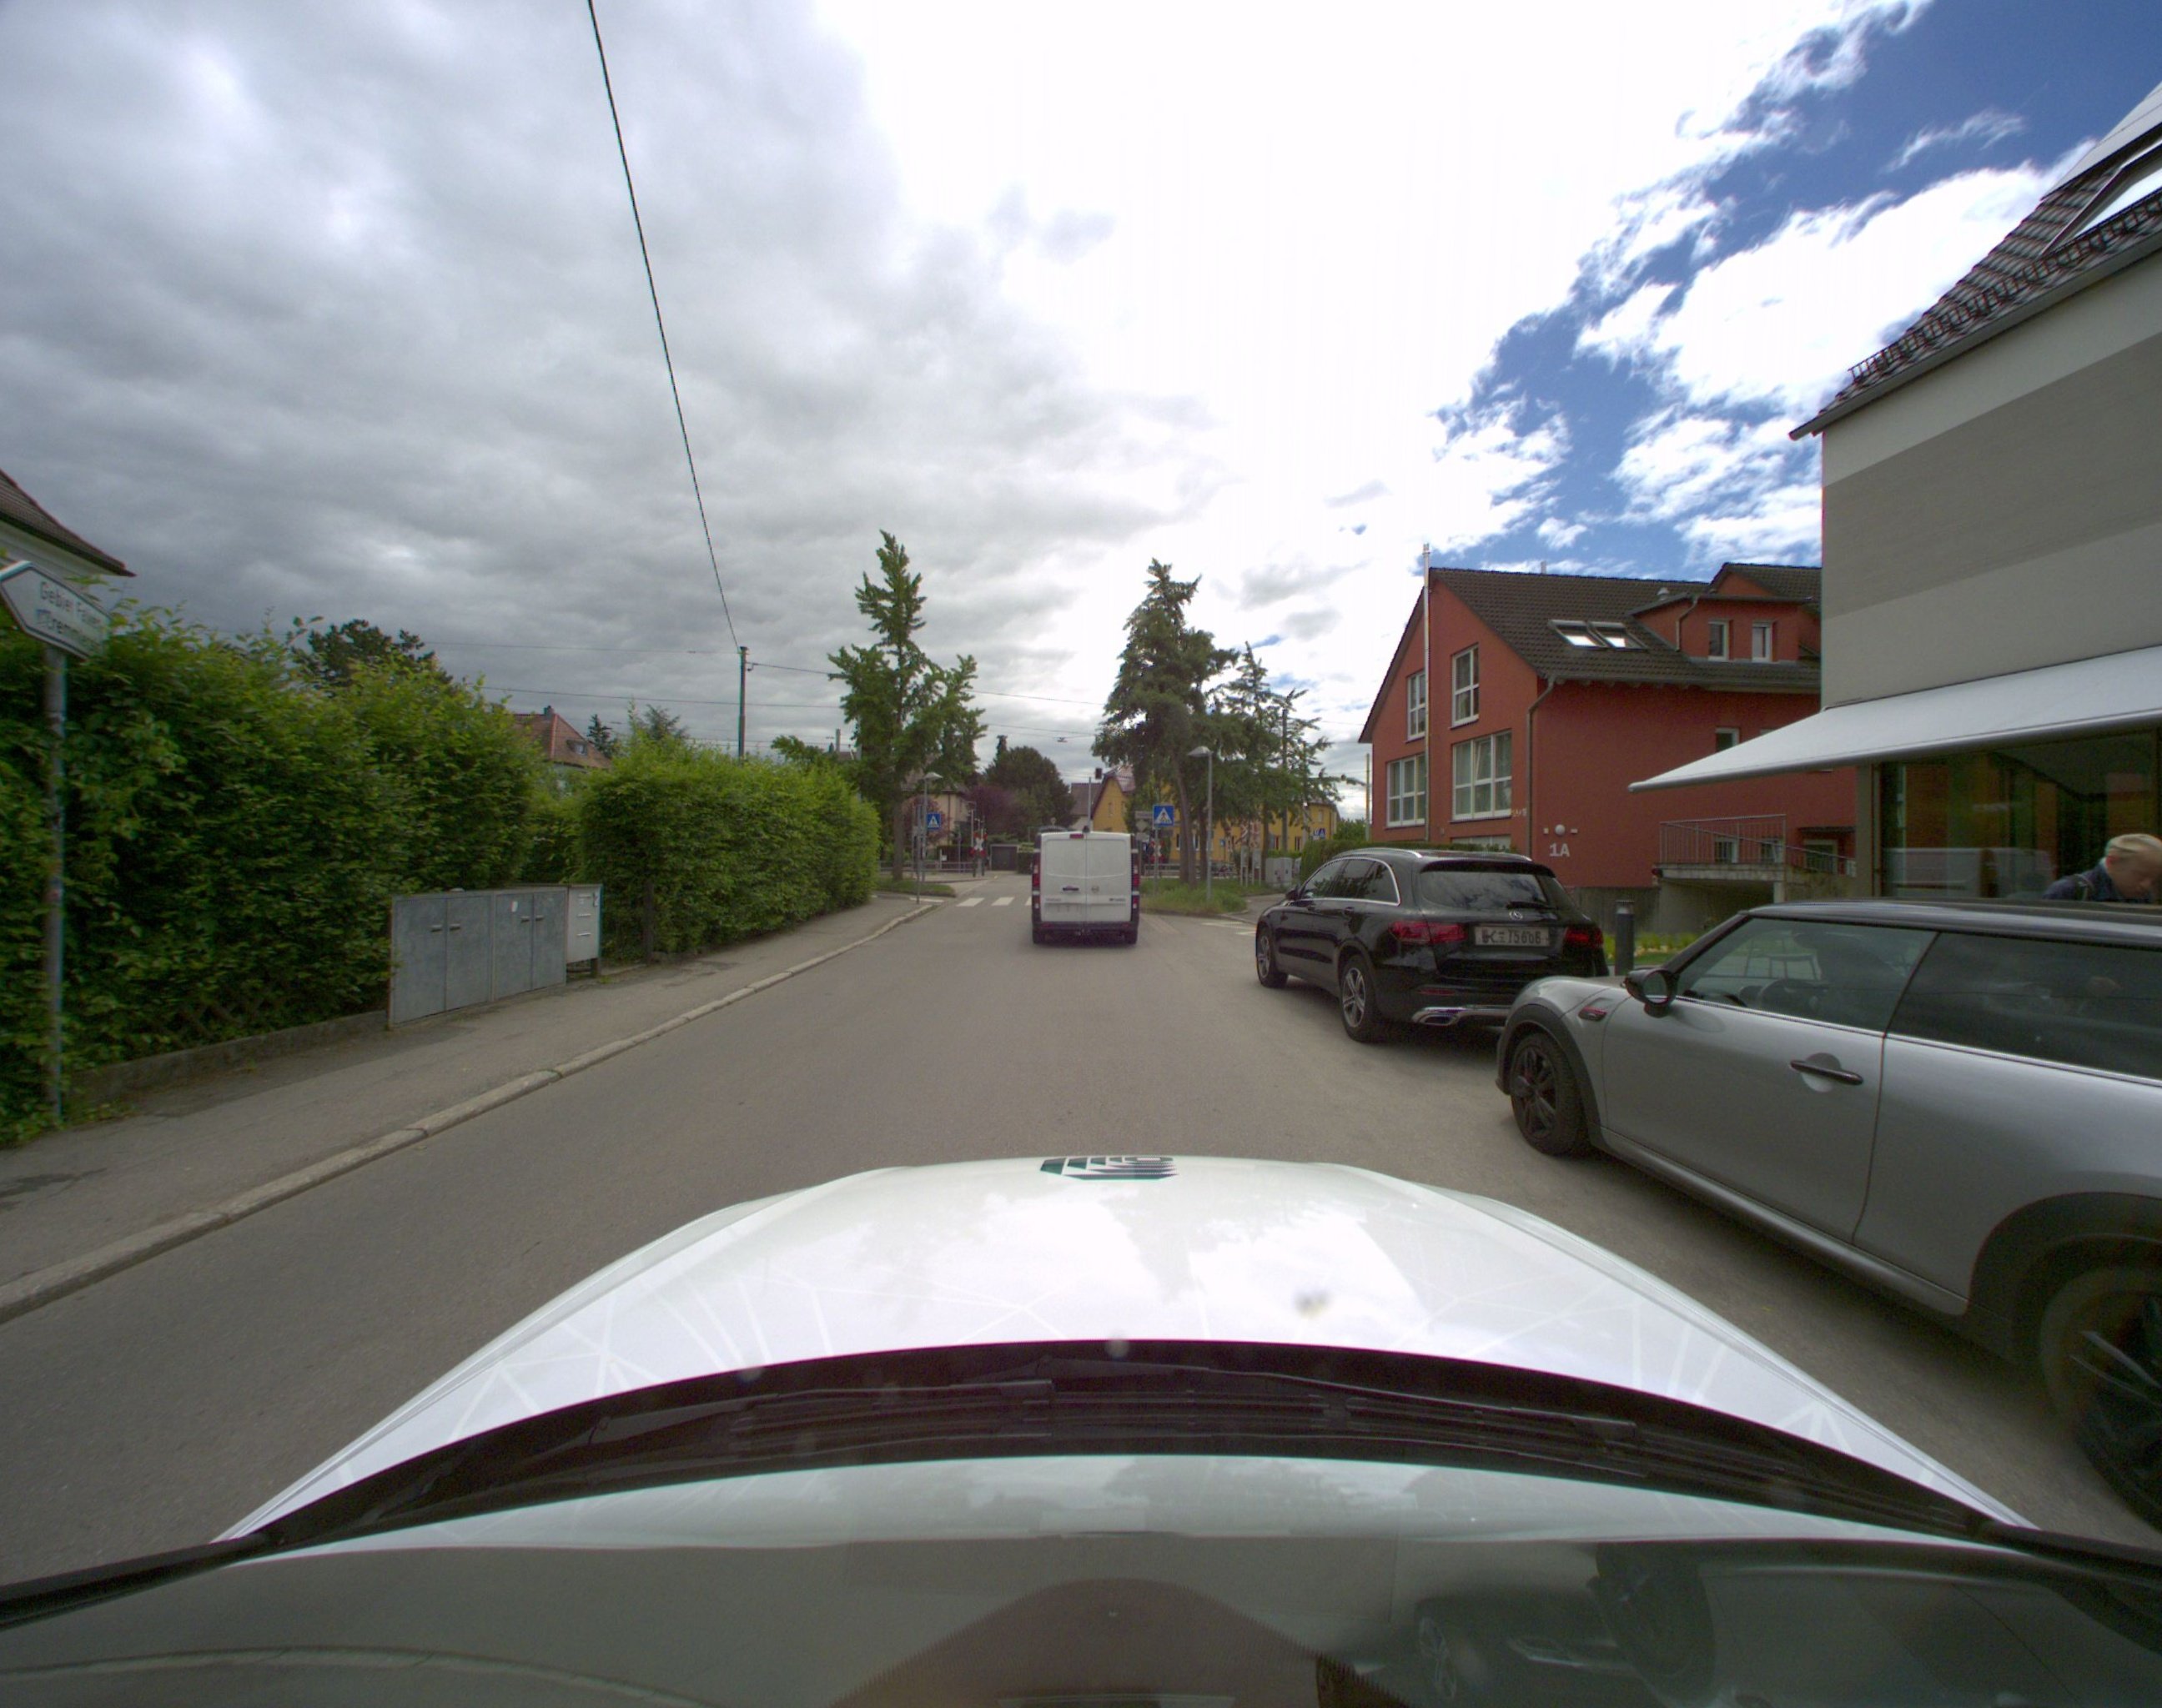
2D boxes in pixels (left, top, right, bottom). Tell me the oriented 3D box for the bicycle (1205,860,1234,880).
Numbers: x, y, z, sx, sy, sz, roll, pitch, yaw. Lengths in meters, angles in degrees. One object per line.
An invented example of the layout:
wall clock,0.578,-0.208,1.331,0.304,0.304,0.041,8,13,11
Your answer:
bicycle,8.459,0.979,49.630,1.686,1.156,0.465,1,-1,-10

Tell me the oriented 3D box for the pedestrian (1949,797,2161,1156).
pedestrian,5.099,0.571,4.131,0.674,1.669,0.659,0,-1,-1

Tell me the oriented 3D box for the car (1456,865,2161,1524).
car,3.270,0.814,3.226,1.702,1.452,3.832,2,0,-2

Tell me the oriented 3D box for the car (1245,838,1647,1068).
car,3.134,0.734,8.170,1.843,1.636,4.461,2,0,-3

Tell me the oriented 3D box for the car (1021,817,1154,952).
car,-0.013,0.508,15.973,2.112,2.134,5.435,2,0,-3

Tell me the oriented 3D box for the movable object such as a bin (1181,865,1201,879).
movable object such as a bin,6.689,1.069,49.484,1.089,0.824,0.578,1,-1,-6

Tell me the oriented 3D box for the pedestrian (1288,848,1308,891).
pedestrian,9.835,0.710,36.829,0.617,1.915,0.836,-1,-1,35
